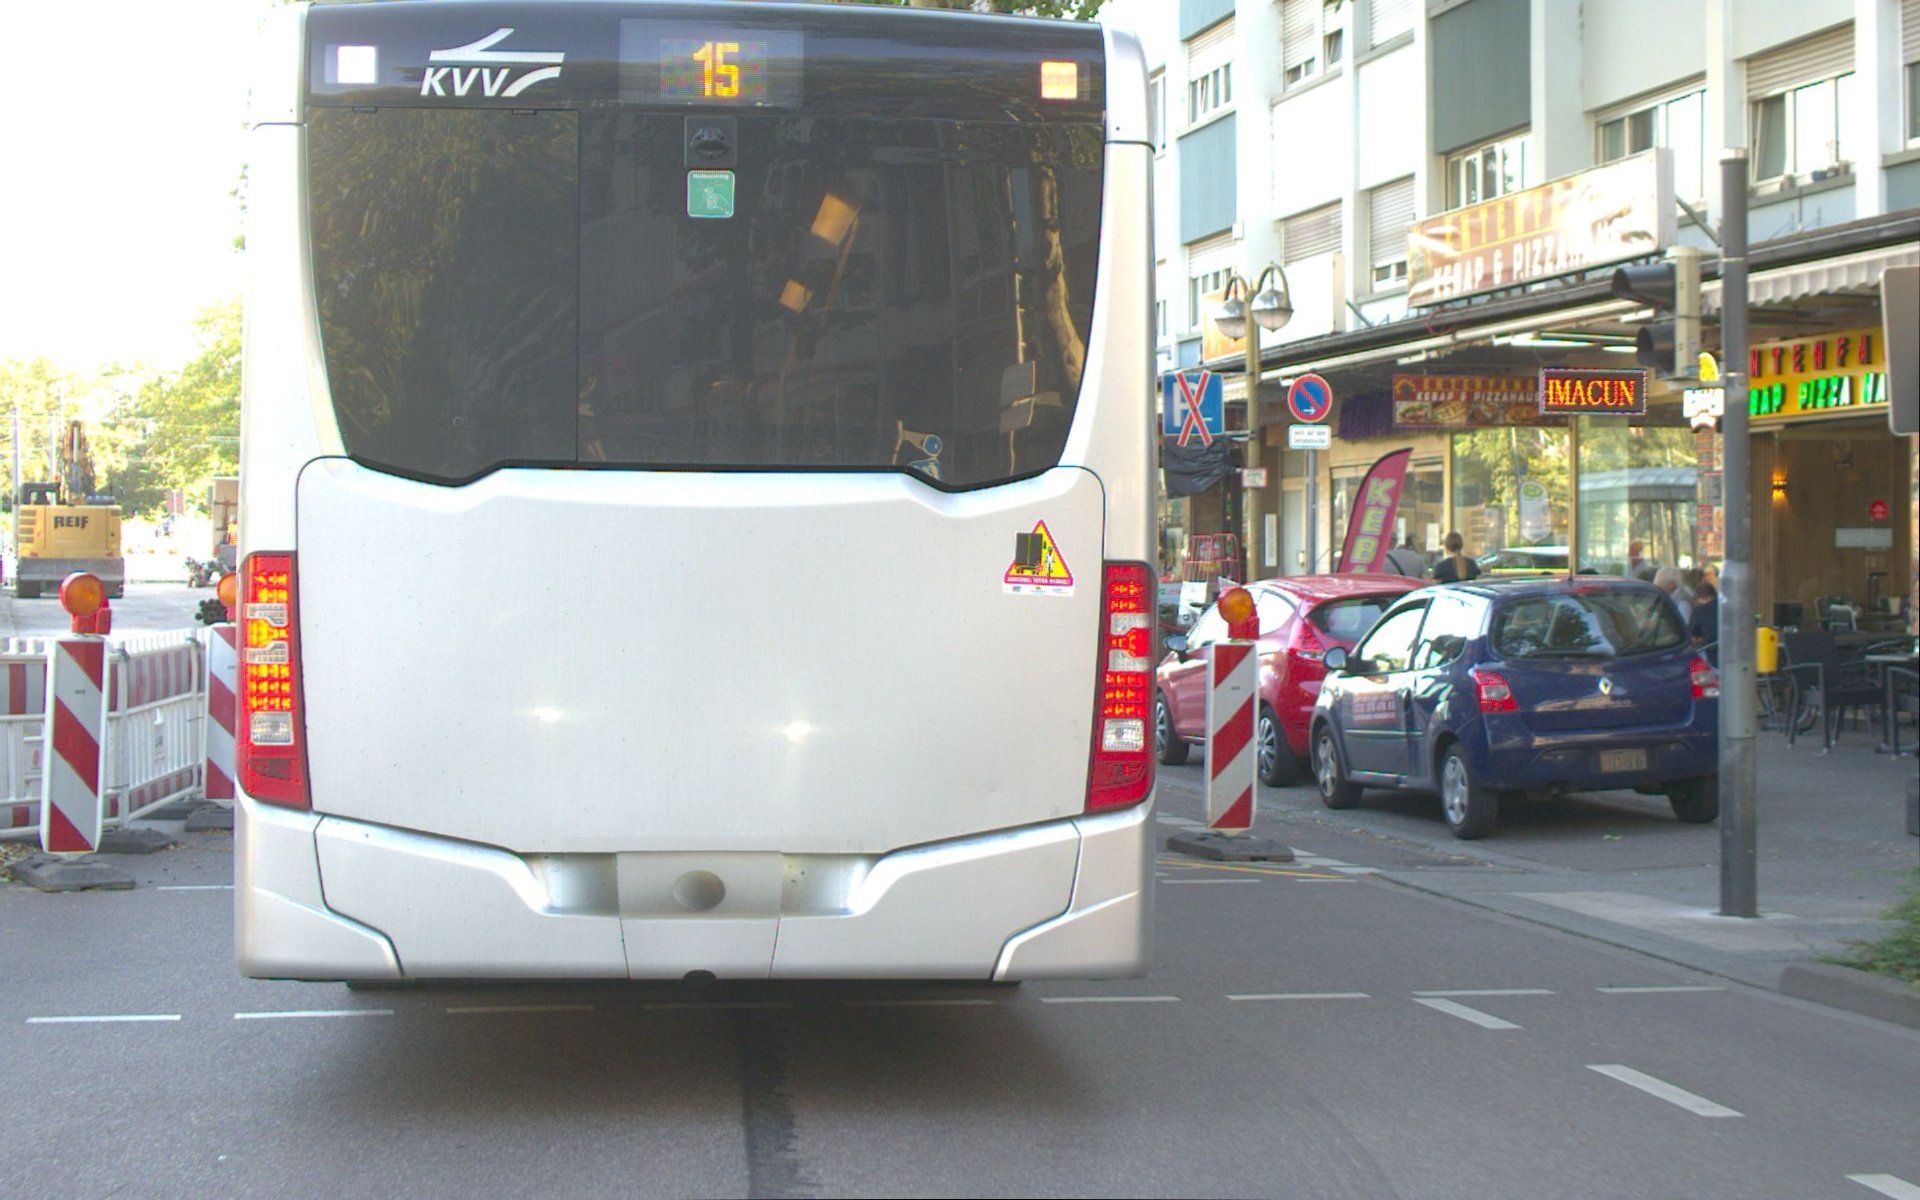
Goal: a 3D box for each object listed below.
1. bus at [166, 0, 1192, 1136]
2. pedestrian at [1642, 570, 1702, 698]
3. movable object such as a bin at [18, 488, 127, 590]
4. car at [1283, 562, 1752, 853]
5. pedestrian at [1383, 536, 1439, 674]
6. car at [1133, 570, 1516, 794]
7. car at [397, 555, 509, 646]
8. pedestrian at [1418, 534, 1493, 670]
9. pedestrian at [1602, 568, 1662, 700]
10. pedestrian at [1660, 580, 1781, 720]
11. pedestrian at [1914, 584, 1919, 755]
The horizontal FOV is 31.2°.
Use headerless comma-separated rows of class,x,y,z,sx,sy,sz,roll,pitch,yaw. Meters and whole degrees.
bus,-1.182,-0.205,14.081,2.657,3.088,10.218,0,1,-5
pedestrian,6.255,0.297,30.206,0.387,1.118,0.393,0,1,-12
movable object such as a bin,-22.125,-1.517,85.894,2.493,2.468,5.357,0,1,-13
car,3.321,0.582,21.093,1.661,1.511,3.414,-3,2,-12
pedestrian,4.119,0.041,31.401,0.387,1.252,0.393,0,1,-11
car,2.579,0.538,25.098,1.661,1.390,3.414,-3,2,-14
car,-8.508,-0.020,57.913,1.755,1.459,4.001,0,1,-7
pedestrian,4.583,0.017,31.819,0.592,1.252,0.393,0,1,-10
pedestrian,6.001,0.301,30.705,0.391,1.170,0.389,0,1,-13
pedestrian,6.173,0.399,27.926,0.705,1.105,0.766,0,1,-11
pedestrian,7.341,0.492,23.703,1.177,1.193,0.926,0,1,-11
